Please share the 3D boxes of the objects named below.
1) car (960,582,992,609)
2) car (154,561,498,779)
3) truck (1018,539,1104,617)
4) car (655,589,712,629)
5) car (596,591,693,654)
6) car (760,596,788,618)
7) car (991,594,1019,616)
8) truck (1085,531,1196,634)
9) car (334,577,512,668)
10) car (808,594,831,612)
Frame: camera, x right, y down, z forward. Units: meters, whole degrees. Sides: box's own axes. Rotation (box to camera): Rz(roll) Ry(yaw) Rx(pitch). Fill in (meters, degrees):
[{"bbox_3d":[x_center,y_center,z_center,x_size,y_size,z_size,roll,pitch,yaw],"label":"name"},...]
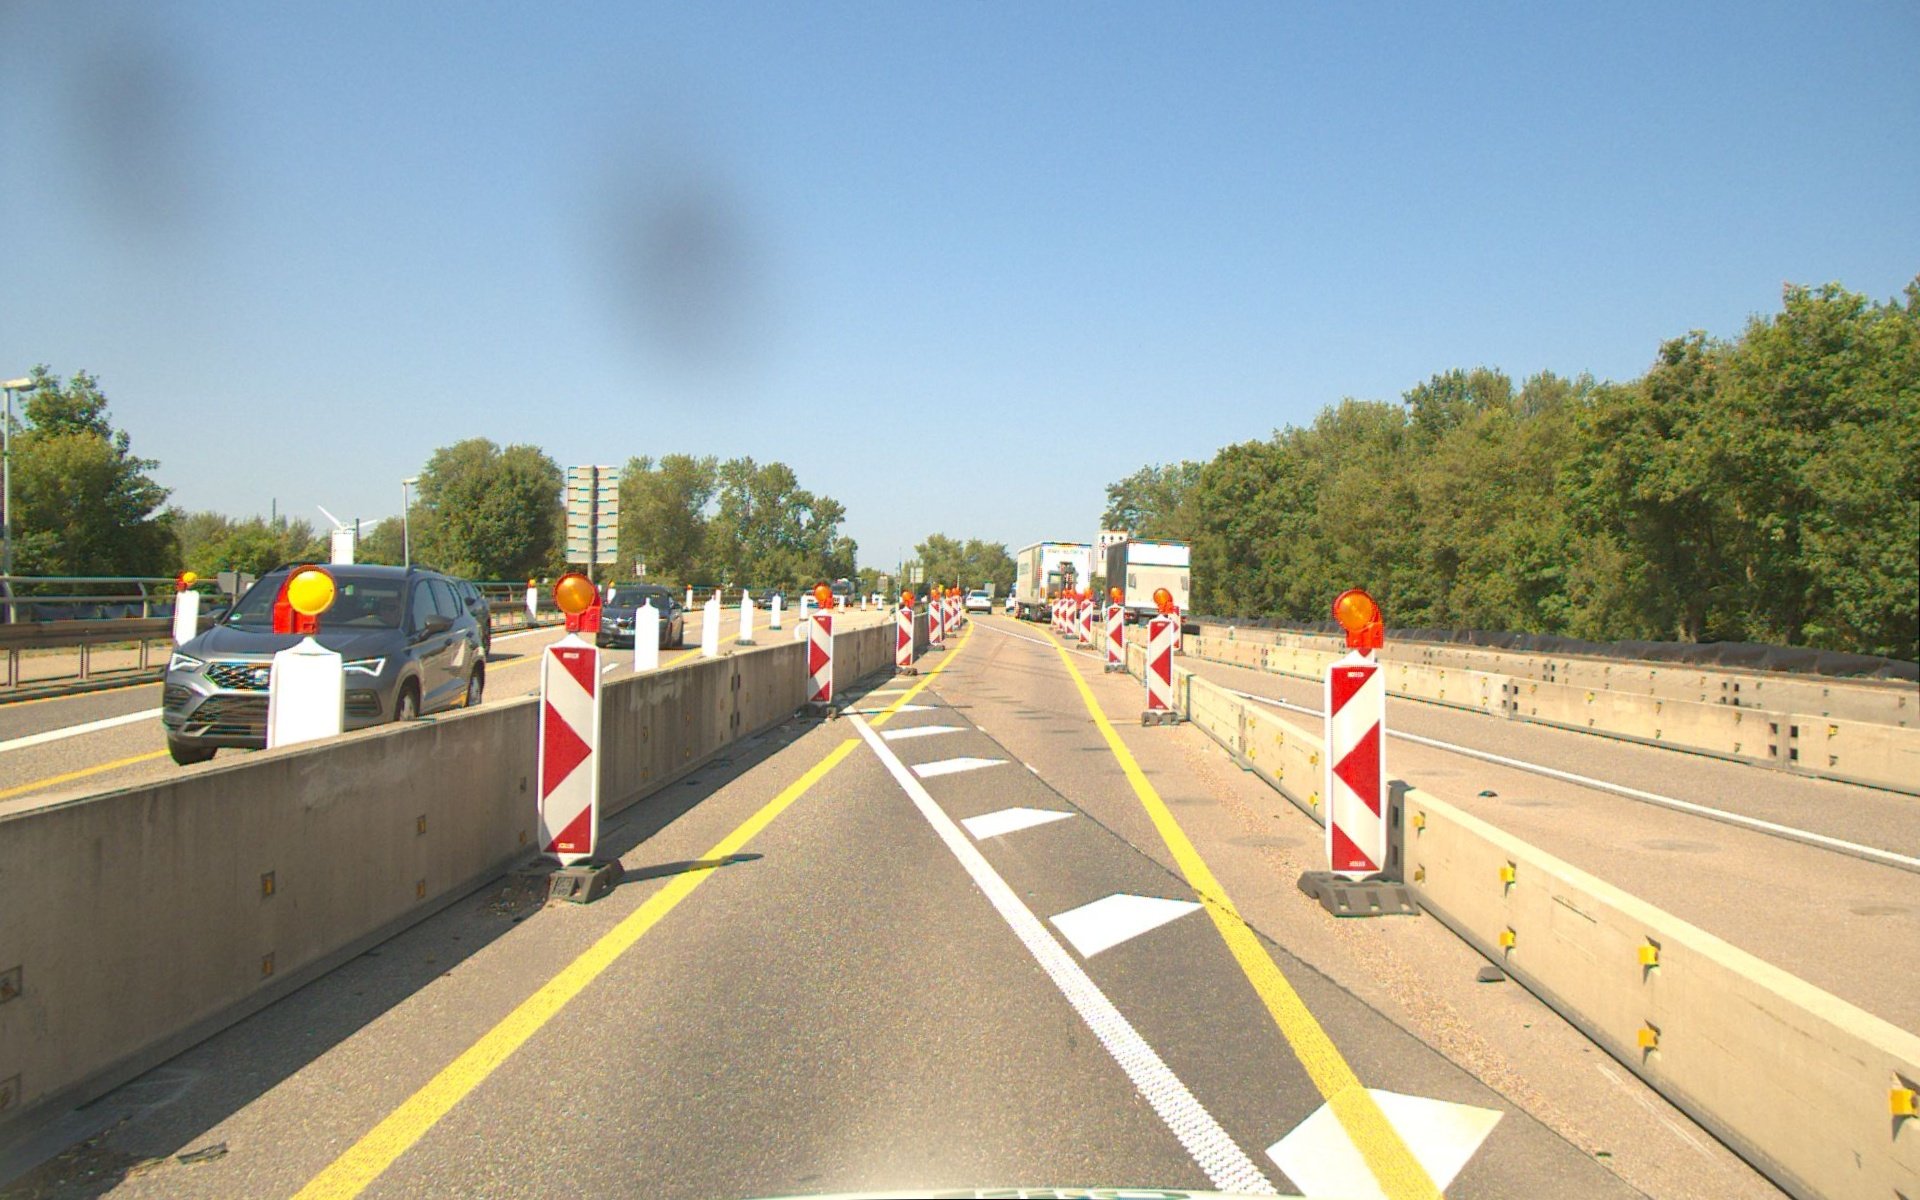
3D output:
[{"bbox_3d":[1.110,-0.296,115.362,1.781,1.807,3.995,0,0,-6],"label":"car"},{"bbox_3d":[-5.225,0.515,14.184,1.755,1.596,3.868,1,0,-6],"label":"car"},{"bbox_3d":[5.083,-1.070,85.048,3.323,3.840,7.224,0,0,-6],"label":"truck"},{"bbox_3d":[-10.804,0.330,64.949,1.634,1.467,4.993,1,0,-3],"label":"car"},{"bbox_3d":[-7.522,0.502,39.750,1.655,1.400,4.271,1,0,-2],"label":"car"},{"bbox_3d":[-13.126,0.455,117.030,1.703,1.502,4.642,1,0,-3],"label":"car"},{"bbox_3d":[3.864,0.421,143.336,1.955,1.807,3.995,0,0,-6],"label":"car"},{"bbox_3d":[6.530,-0.625,60.879,2.583,3.487,7.225,1,0,-6],"label":"truck"},{"bbox_3d":[-9.826,0.378,30.654,1.893,1.534,4.468,1,0,-1],"label":"car"},{"bbox_3d":[-12.089,0.240,142.229,1.684,1.421,4.518,2,0,-2],"label":"car"}]
